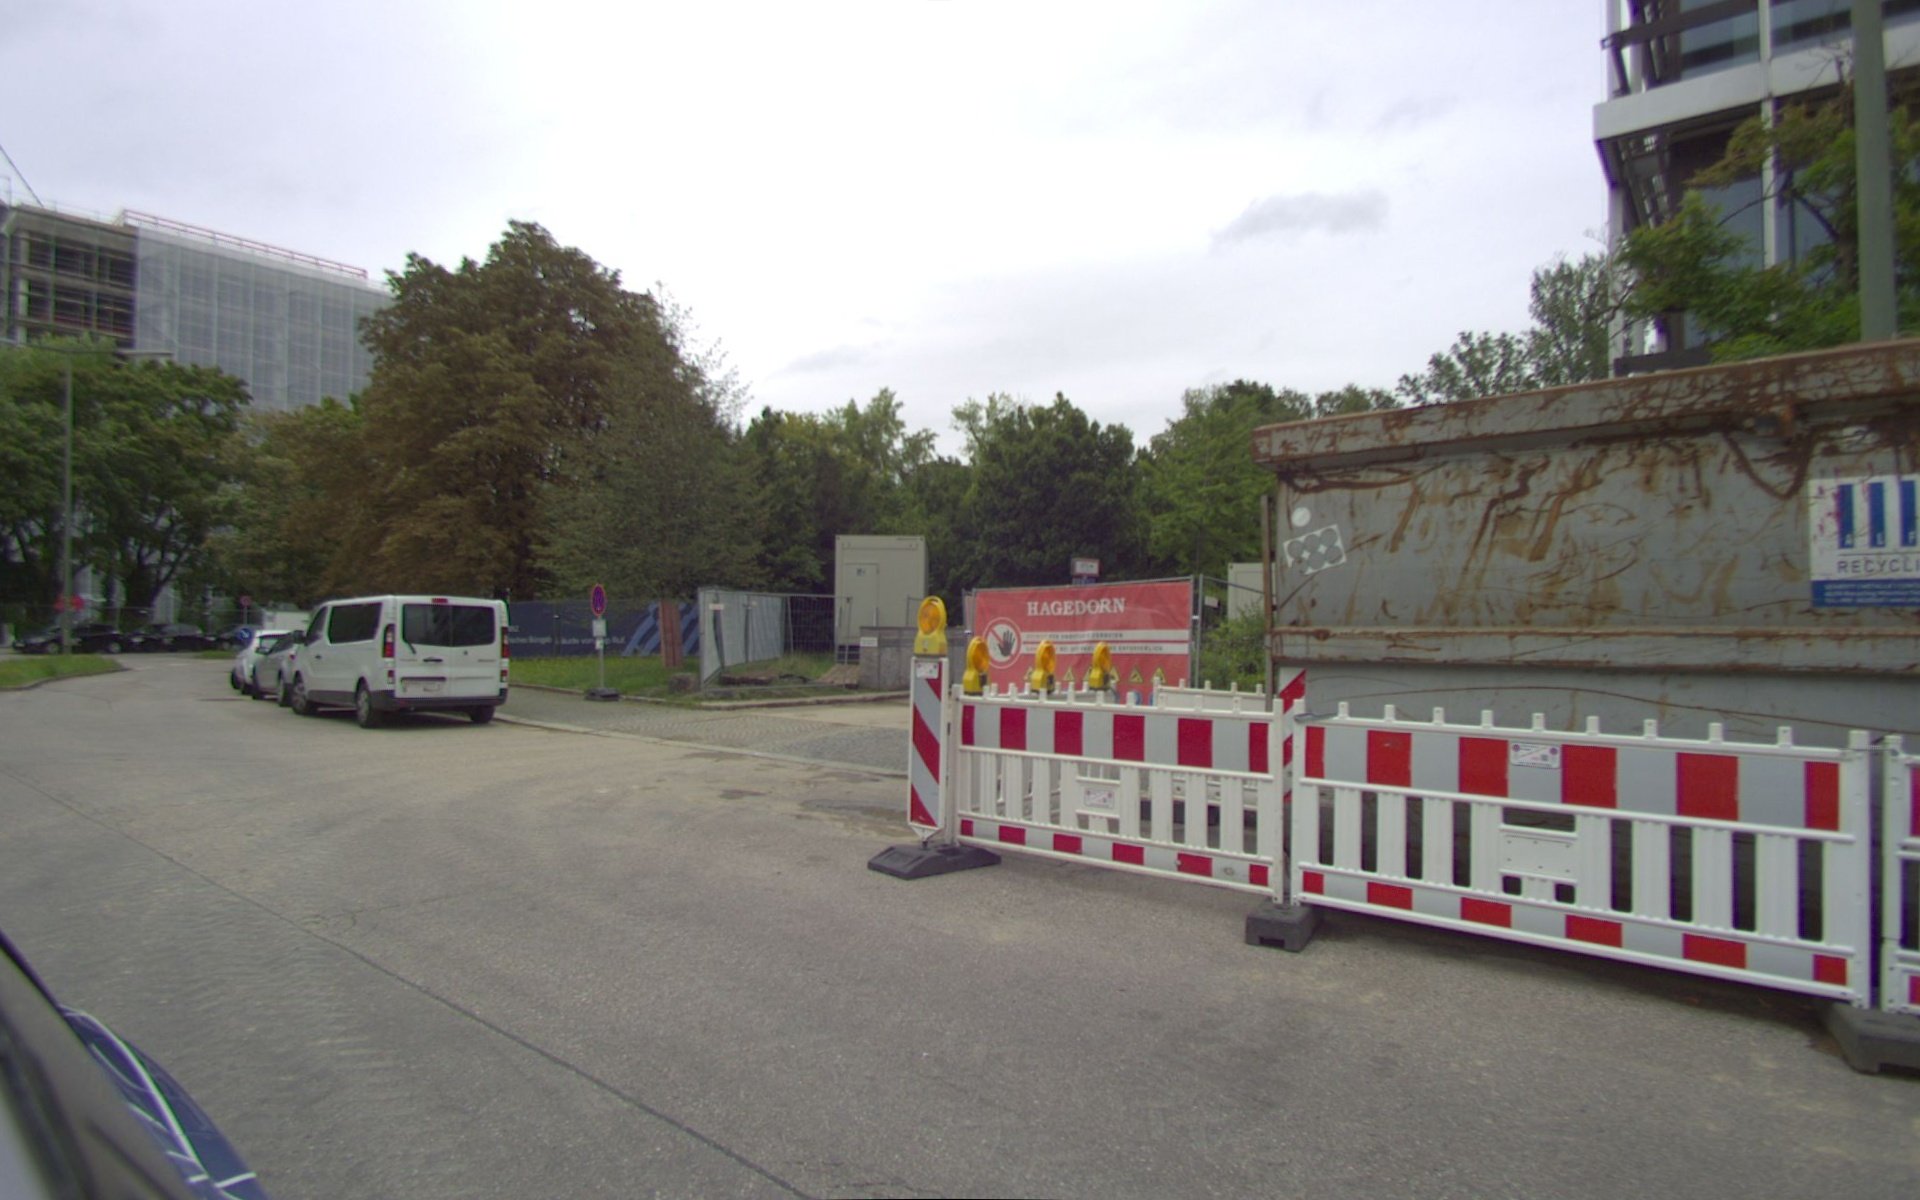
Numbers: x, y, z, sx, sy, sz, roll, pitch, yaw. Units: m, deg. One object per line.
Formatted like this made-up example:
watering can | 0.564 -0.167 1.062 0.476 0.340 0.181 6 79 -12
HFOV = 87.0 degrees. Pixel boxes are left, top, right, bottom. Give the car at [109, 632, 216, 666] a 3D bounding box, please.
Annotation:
car | -39.156 2.375 49.779 1.771 1.584 3.872 1 -2 11

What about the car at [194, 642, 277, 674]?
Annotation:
car | -38.486 3.047 53.849 1.646 1.584 3.244 1 -2 17

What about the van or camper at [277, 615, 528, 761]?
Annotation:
van or camper | -9.429 1.373 16.867 5.586 2.050 1.967 -2 -5 43

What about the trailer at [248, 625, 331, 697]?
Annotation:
trailer | -21.760 1.969 32.939 1.752 2.198 2.785 3 -3 -24

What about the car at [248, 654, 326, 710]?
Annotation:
car | -19.155 2.297 28.788 1.667 1.423 3.805 4 -4 -34

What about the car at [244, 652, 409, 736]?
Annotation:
car | -12.920 1.847 20.539 1.970 1.470 4.122 5 -5 -44

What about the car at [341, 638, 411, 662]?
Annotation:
car | -36.403 3.106 63.160 1.507 1.397 3.699 1 -2 17

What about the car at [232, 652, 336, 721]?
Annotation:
car | -16.324 2.031 24.357 1.714 1.470 4.039 4 -4 -38

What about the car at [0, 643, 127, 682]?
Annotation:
car | -40.024 2.757 45.298 1.774 1.584 3.865 1 -2 16
